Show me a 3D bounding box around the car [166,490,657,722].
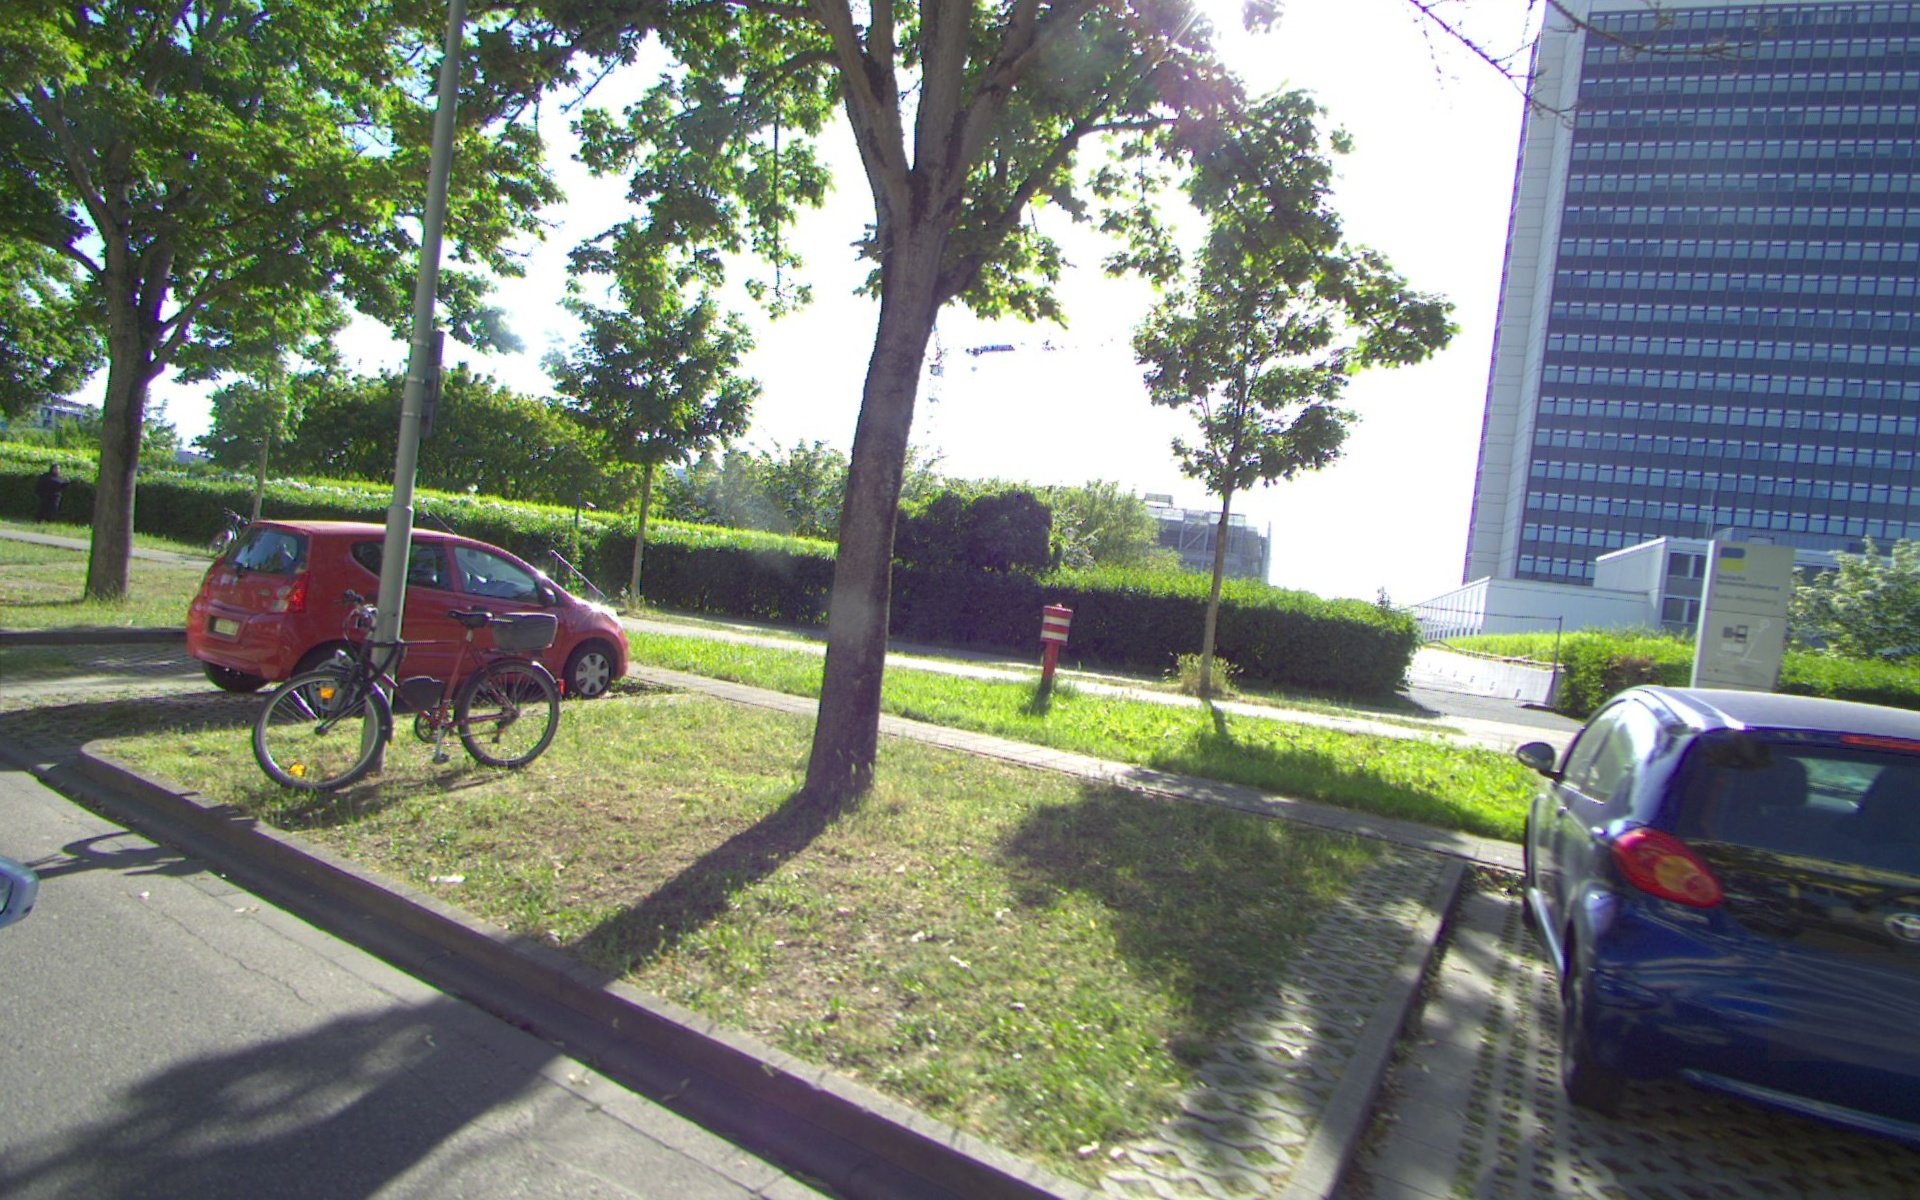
[{"bbox_3d":[-4.628,0.033,8.931,1.600,1.565,3.434,7,3,31],"label":"car"}]

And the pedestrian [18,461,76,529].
[{"bbox_3d":[-23.997,-2.756,26.450,0.837,1.608,0.725,7,1,20],"label":"pedestrian"}]

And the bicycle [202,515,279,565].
[{"bbox_3d":[-15.001,-1.249,20.986,1.382,0.878,0.347,7,2,6],"label":"bicycle"}]

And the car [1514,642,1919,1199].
[{"bbox_3d":[3.566,1.077,4.307,1.826,1.499,3.465,7,2,27],"label":"car"}]

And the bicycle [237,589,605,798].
[{"bbox_3d":[-3.036,0.517,5.823,0.523,1.004,1.747,8,2,42],"label":"bicycle"}]
